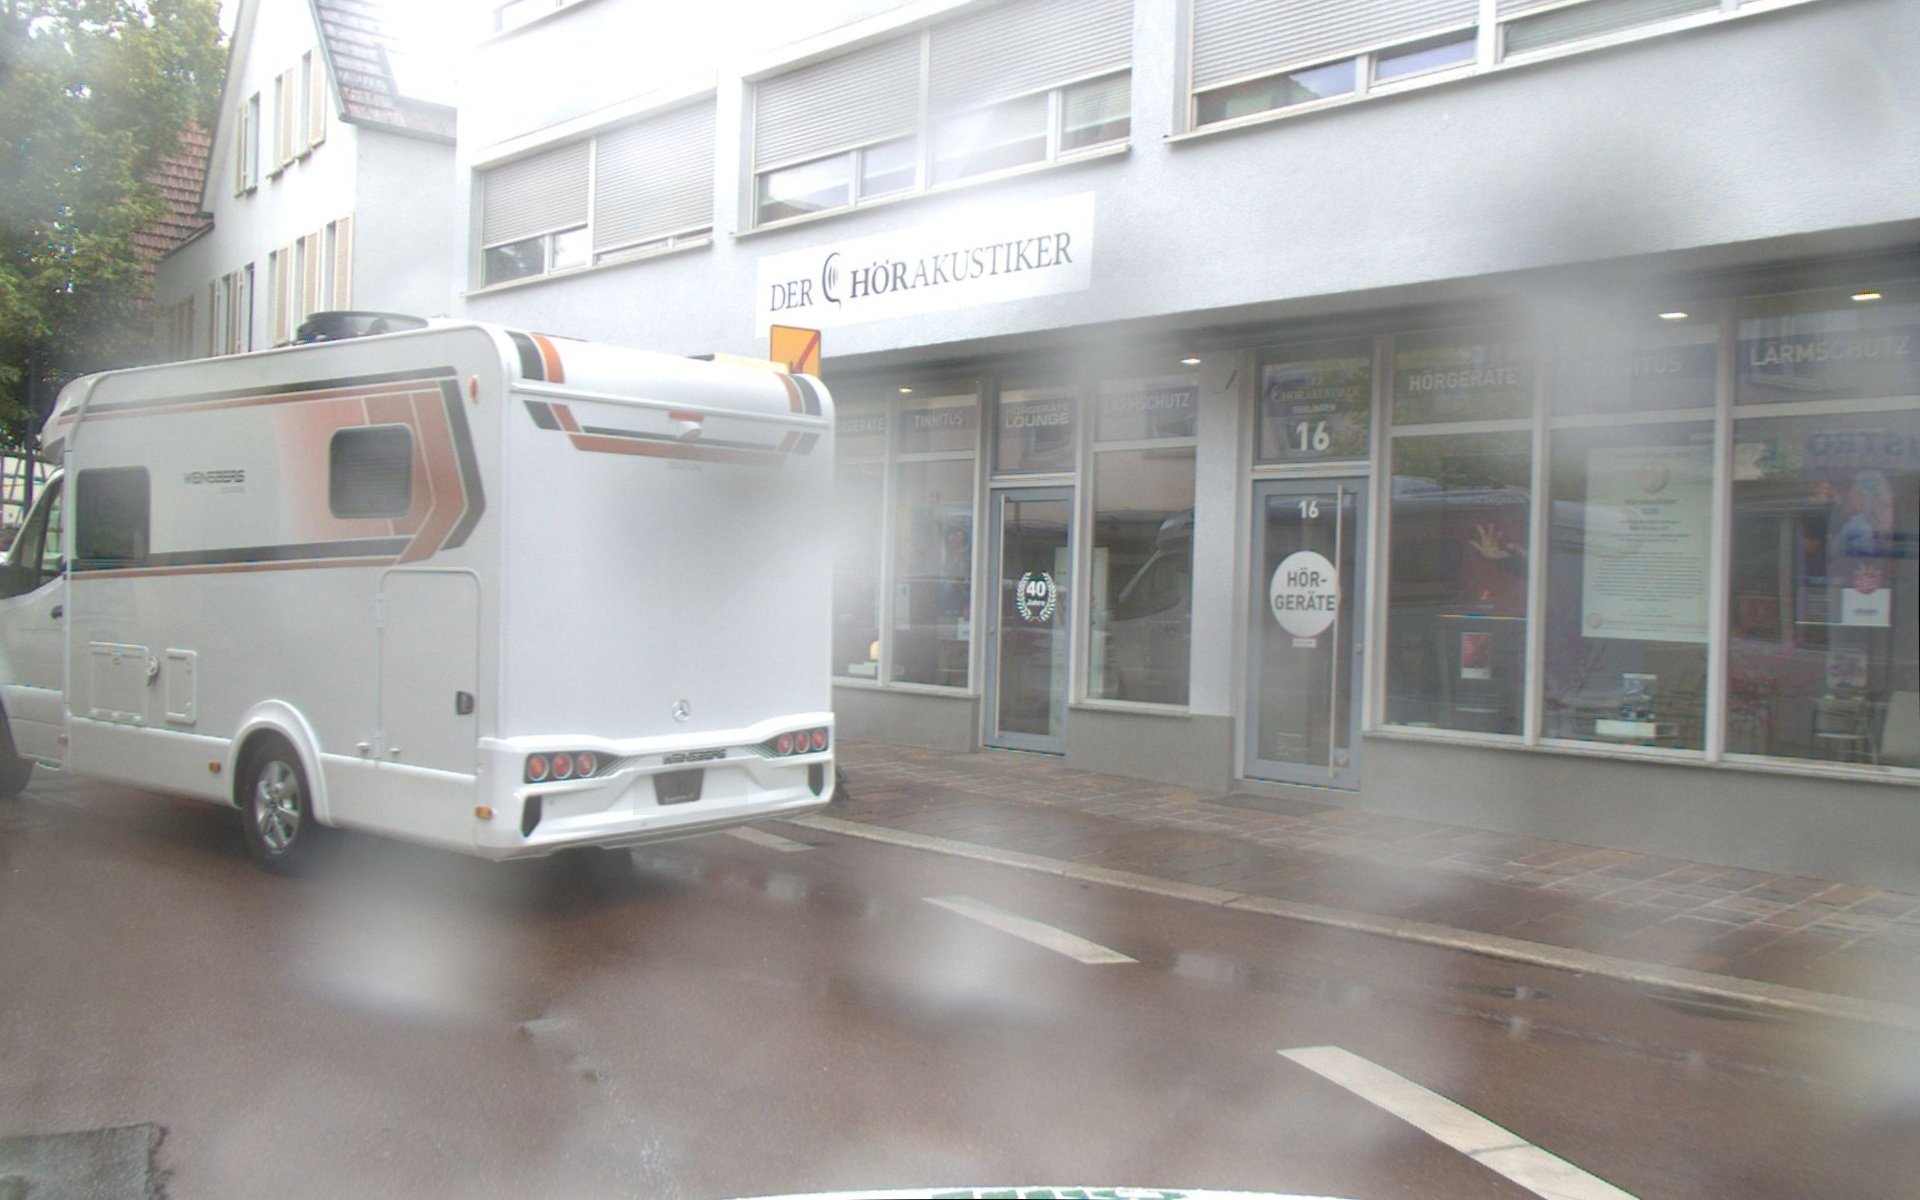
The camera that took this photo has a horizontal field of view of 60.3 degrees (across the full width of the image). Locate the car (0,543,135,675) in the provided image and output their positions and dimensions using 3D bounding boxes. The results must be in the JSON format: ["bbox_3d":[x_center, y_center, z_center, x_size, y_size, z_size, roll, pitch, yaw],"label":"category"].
[{"bbox_3d":[-12.327,0.053,21.551,3.735,1.555,1.671,3,2,44],"label":"car"}]

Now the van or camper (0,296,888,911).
[{"bbox_3d":[-3.778,-0.061,10.074,6.620,2.630,2.435,2,0,37],"label":"van or camper"}]
